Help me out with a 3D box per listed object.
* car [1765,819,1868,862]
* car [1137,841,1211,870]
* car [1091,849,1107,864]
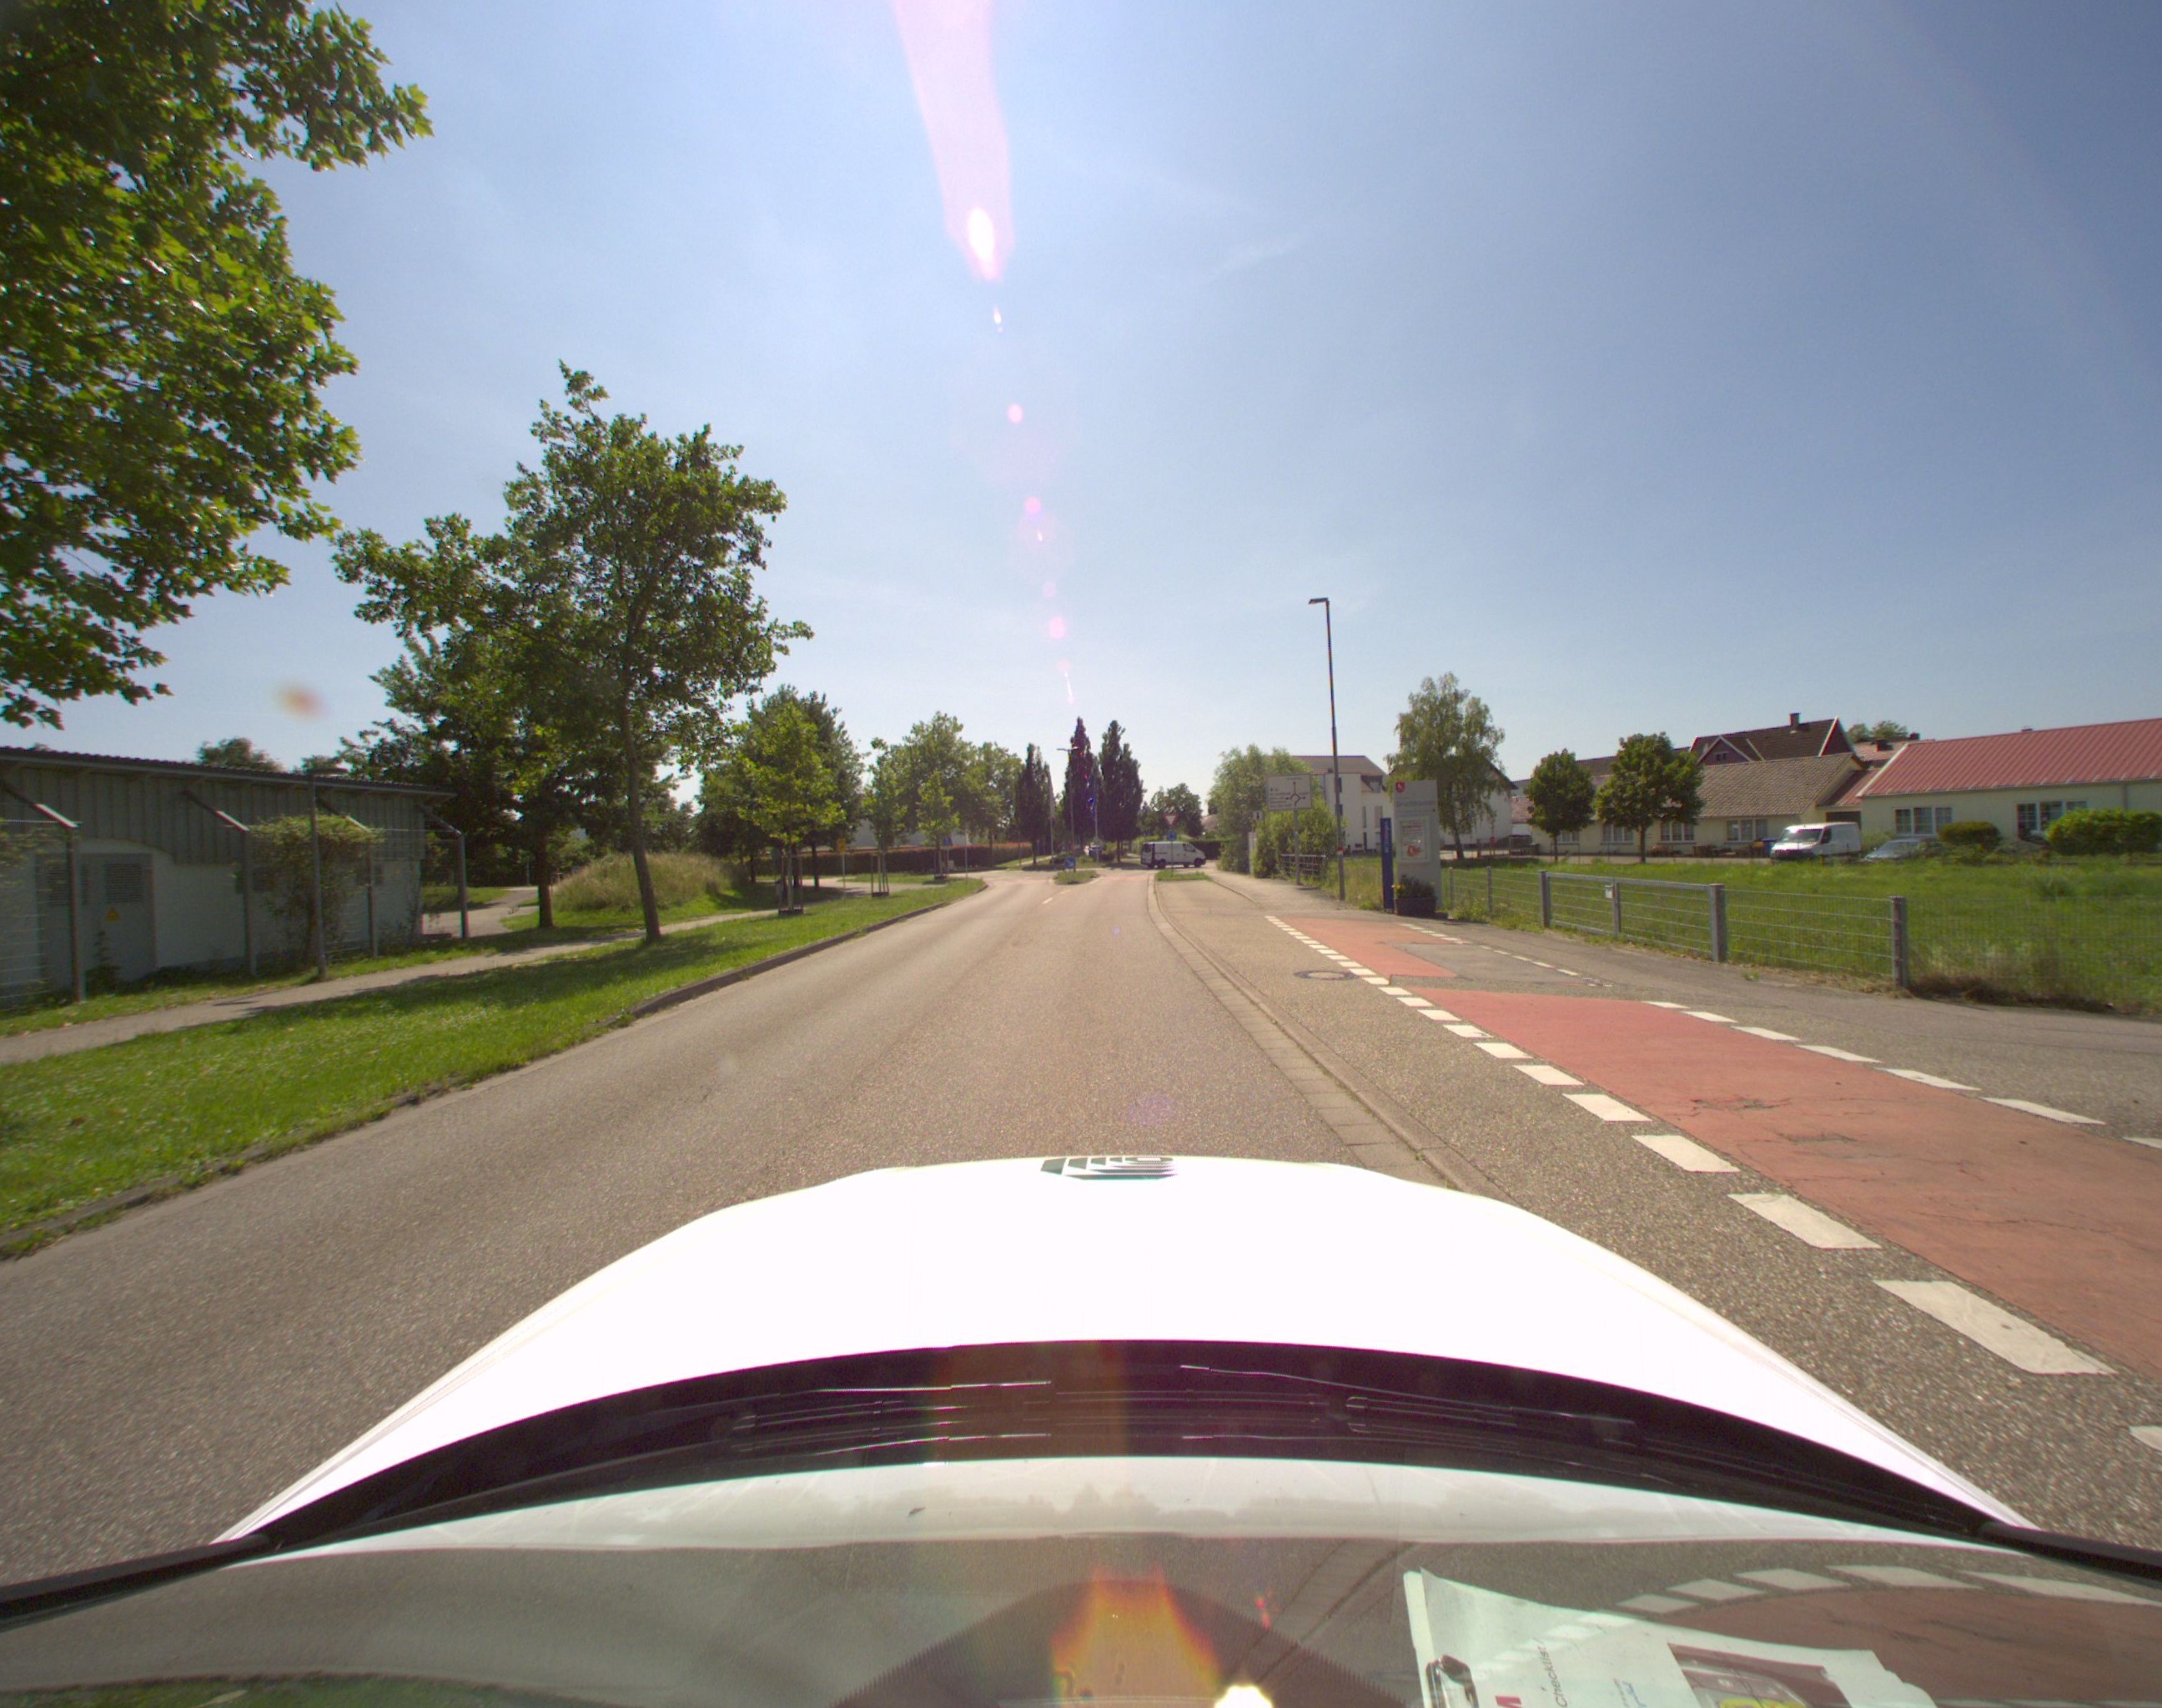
[{"bbox_3d":[38.838,-0.703,42.979,5.193,2.201,2.197,-1,0,-25],"label":"car"},{"bbox_3d":[6.955,0.103,61.104,5.152,2.013,2.119,-1,0,-22],"label":"car"},{"bbox_3d":[2.343,0.310,106.677,1.916,1.886,4.000,-1,0,0],"label":"car"}]
